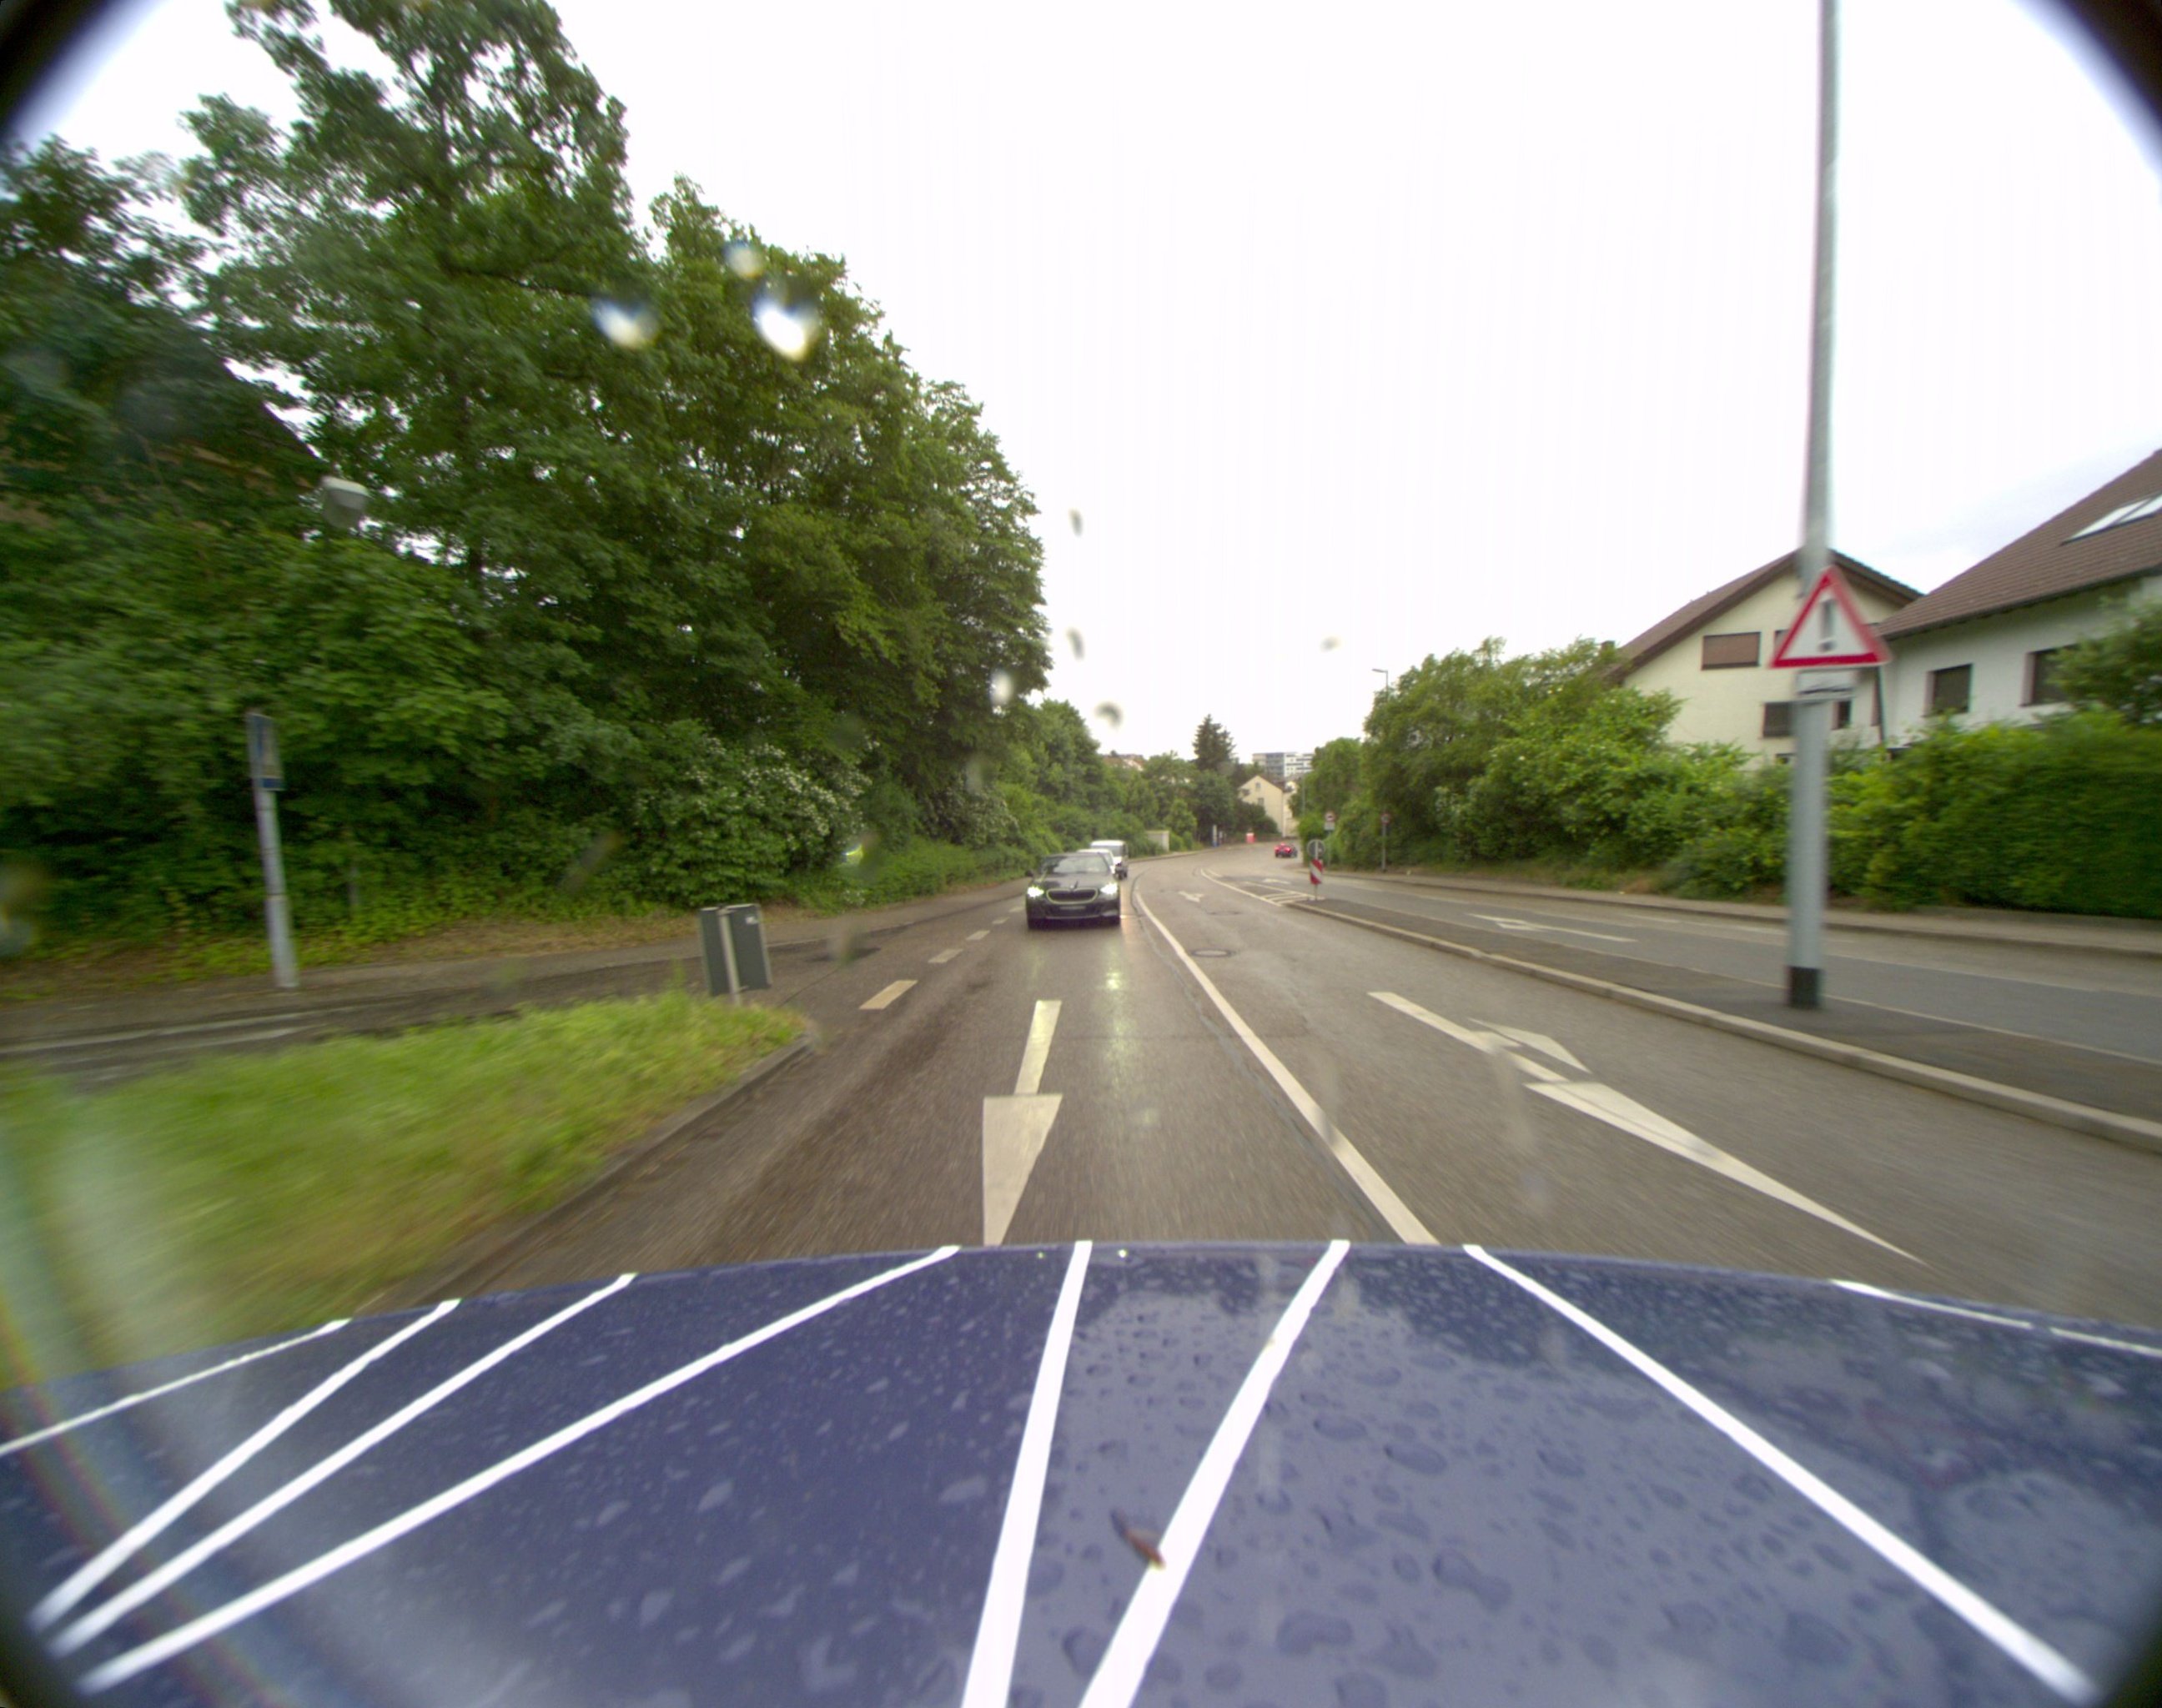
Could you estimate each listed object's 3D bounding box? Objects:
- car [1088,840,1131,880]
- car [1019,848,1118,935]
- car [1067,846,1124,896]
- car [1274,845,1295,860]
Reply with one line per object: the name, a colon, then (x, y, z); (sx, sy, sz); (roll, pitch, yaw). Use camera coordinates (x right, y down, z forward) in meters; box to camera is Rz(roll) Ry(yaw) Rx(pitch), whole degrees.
car: (1.427, 0.248, 36.679); (1.813, 1.797, 4.120); (-1, 1, 5)
car: (-0.167, 0.708, 16.531); (1.867, 1.547, 4.119); (-1, 2, 2)
car: (0.545, 0.540, 26.864); (1.814, 1.547, 4.119); (-1, 1, 2)
car: (26.628, -0.226, 99.290); (1.957, 1.835, 4.007); (2, 1, 25)
